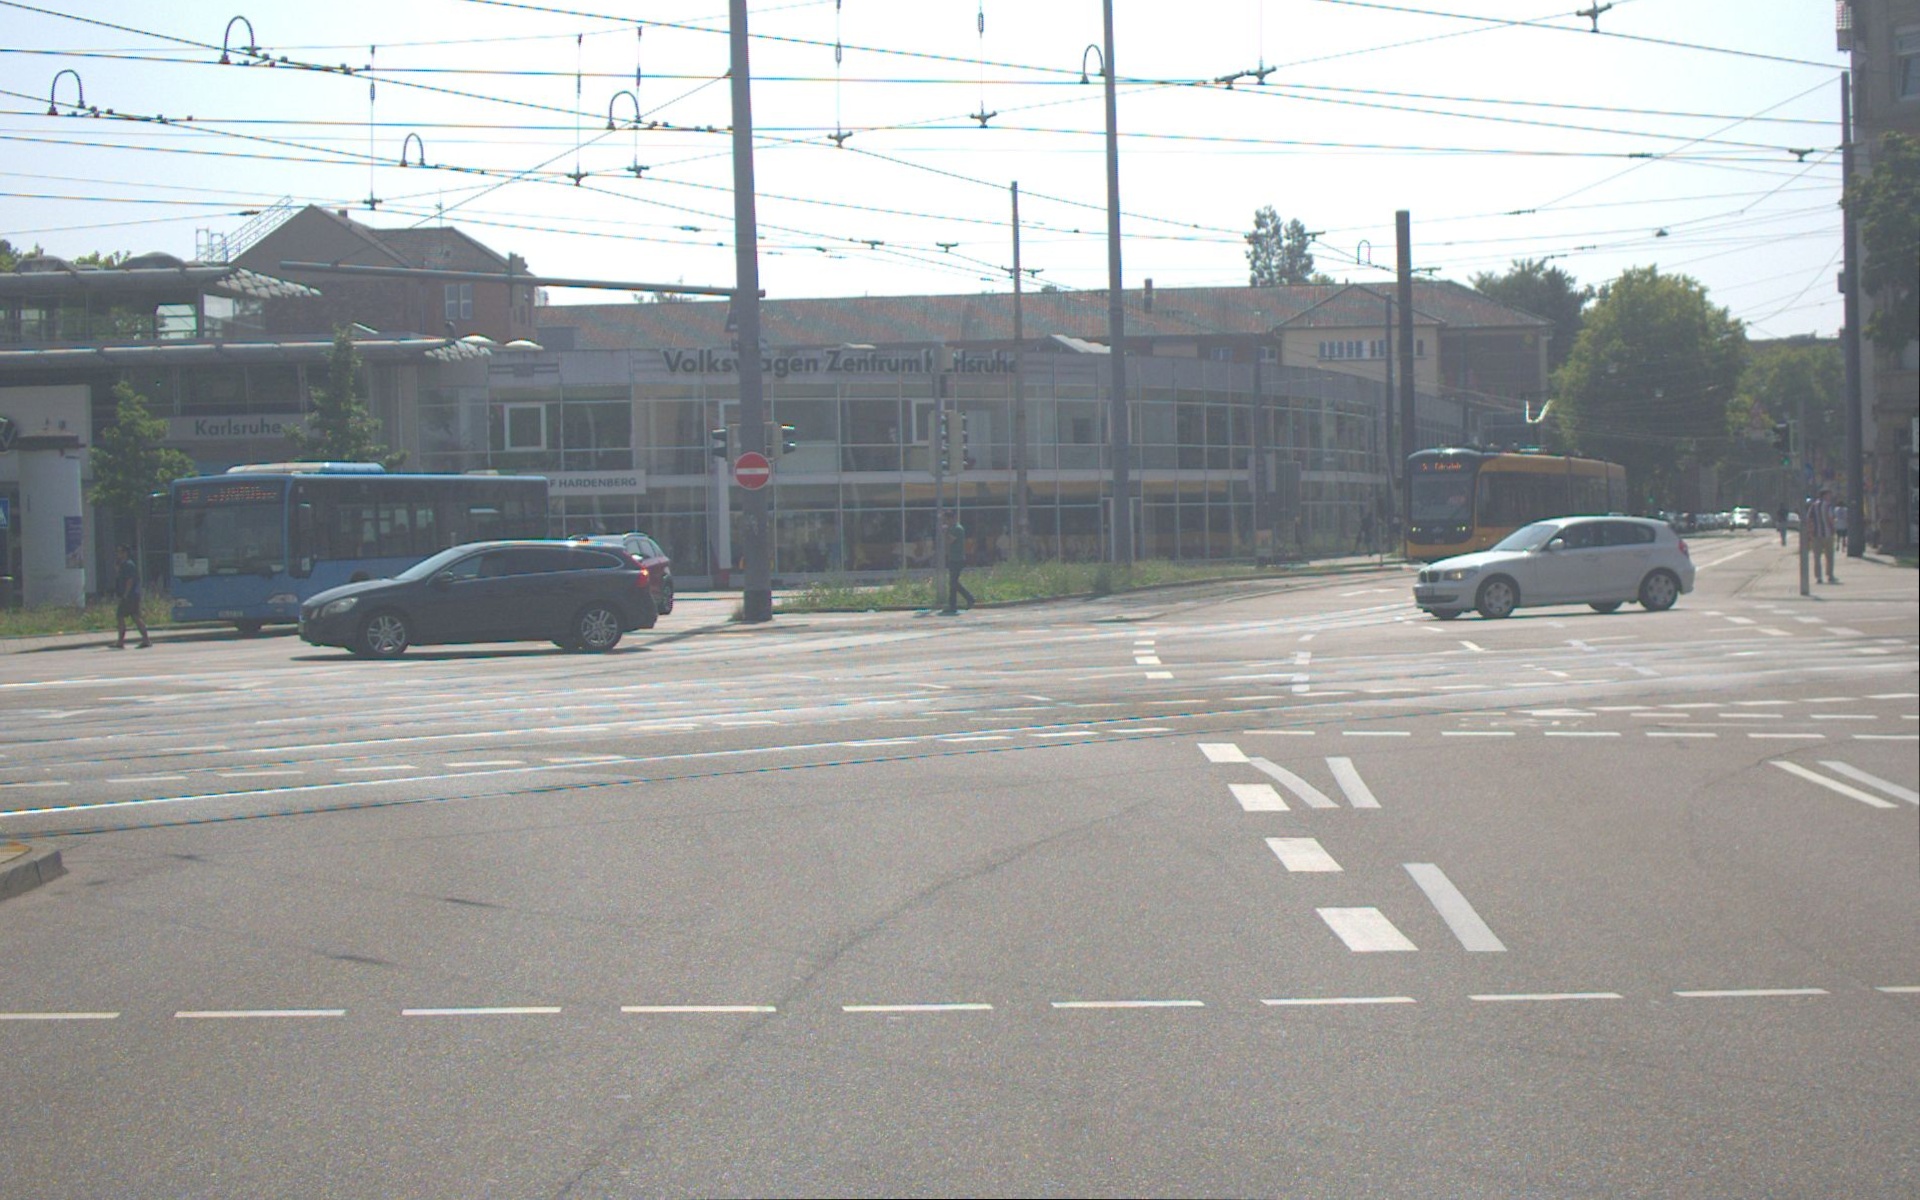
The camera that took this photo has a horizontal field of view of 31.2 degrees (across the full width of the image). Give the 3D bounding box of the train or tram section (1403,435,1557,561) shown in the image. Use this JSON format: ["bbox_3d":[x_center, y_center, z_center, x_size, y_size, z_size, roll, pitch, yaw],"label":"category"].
[{"bbox_3d":[15.524,-2.985,101.923,2.590,3.504,10.889,-1,1,19],"label":"train or tram section"}]

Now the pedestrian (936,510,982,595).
[{"bbox_3d":[-0.018,-0.816,59.068,0.676,1.438,0.366,-1,1,-17],"label":"pedestrian"}]

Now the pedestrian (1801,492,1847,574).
[{"bbox_3d":[17.032,-1.329,67.765,0.699,1.597,0.573,-1,1,-8],"label":"pedestrian"}]

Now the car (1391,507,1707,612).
[{"bbox_3d":[8.583,-0.609,50.097,4.187,1.411,1.776,-2,1,-20],"label":"car"}]

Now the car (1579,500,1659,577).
[{"bbox_3d":[14.525,-1.363,75.712,1.637,1.612,3.998,-1,1,12],"label":"car"}]

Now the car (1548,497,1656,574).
[{"bbox_3d":[12.446,-1.255,66.467,1.771,1.411,4.186,-1,1,14],"label":"car"}]

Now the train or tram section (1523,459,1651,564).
[{"bbox_3d":[22.368,-3.125,122.144,2.590,3.504,12.961,-1,1,19],"label":"train or tram section"}]

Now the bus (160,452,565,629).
[{"bbox_3d":[-11.258,-1.183,66.620,2.564,3.072,12.014,-1,1,17],"label":"bus"}]

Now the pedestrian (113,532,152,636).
[{"bbox_3d":[-13.513,-0.268,56.137,0.552,1.678,0.454,-1,1,-18],"label":"pedestrian"}]

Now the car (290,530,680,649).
[{"bbox_3d":[-6.202,-0.162,44.895,4.752,1.411,1.776,-2,1,-19],"label":"car"}]

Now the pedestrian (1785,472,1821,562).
[{"bbox_3d":[28.591,-2.817,116.599,0.983,3.007,0.974,-1,1,6],"label":"pedestrian"}]
